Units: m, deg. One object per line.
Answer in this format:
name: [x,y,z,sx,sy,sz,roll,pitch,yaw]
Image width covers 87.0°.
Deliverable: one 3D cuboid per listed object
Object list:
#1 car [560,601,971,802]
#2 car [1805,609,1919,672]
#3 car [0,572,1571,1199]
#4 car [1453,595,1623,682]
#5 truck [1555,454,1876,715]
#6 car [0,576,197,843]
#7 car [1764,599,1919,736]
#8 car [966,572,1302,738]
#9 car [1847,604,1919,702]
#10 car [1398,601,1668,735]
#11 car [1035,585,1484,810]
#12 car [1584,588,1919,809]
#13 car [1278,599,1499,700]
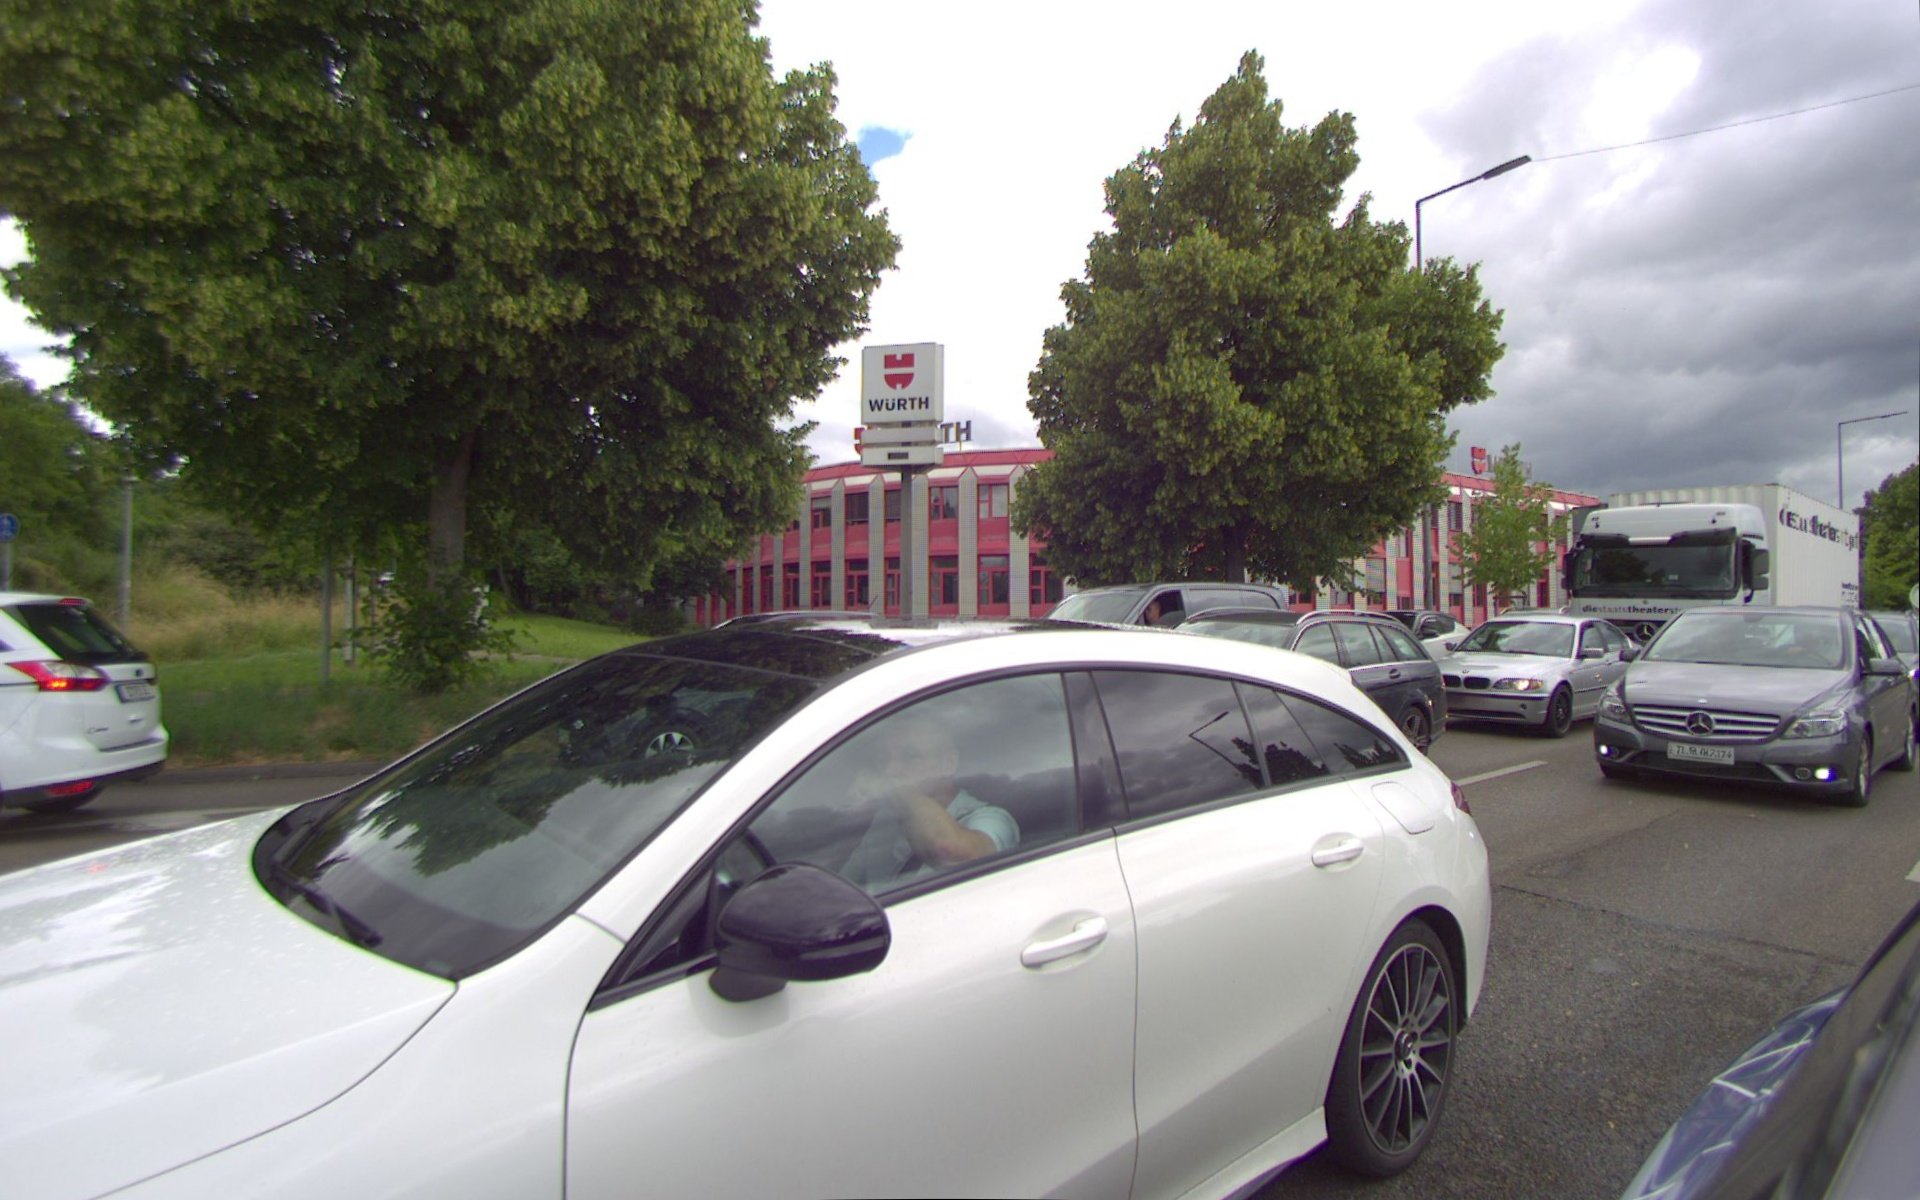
car: [-1.786,0.798,9.615,3.495,1.525,1.608,-1,0,-34]
car: [24.428,1.059,27.325,4.299,1.549,1.850,1,-1,-41]
car: [-0.337,0.719,2.502,4.451,1.525,1.848,-1,1,-40]
car: [12.387,0.805,21.593,4.133,1.679,1.863,1,-3,-41]
truck: [14.985,-0.218,19.623,10.000,3.953,2.808,0,0,-40]
car: [-7.889,0.695,6.616,4.278,1.676,1.767,0,-1,-20]
car: [11.698,0.776,12.895,3.769,1.512,1.627,1,-1,-41]
car: [2.395,0.568,13.162,4.592,1.797,1.762,-1,0,-40]
car: [16.327,0.858,16.846,3.431,1.525,1.825,1,-1,-39]
car: [7.531,0.746,13.131,4.215,1.400,1.749,-1,1,-41]
car: [2.784,0.671,8.841,4.279,1.504,1.749,1,-1,-41]
car: [7.226,0.709,9.004,3.976,1.527,1.749,1,-1,-41]
car: [7.403,0.800,17.333,4.034,1.536,1.842,0,-4,-41]
